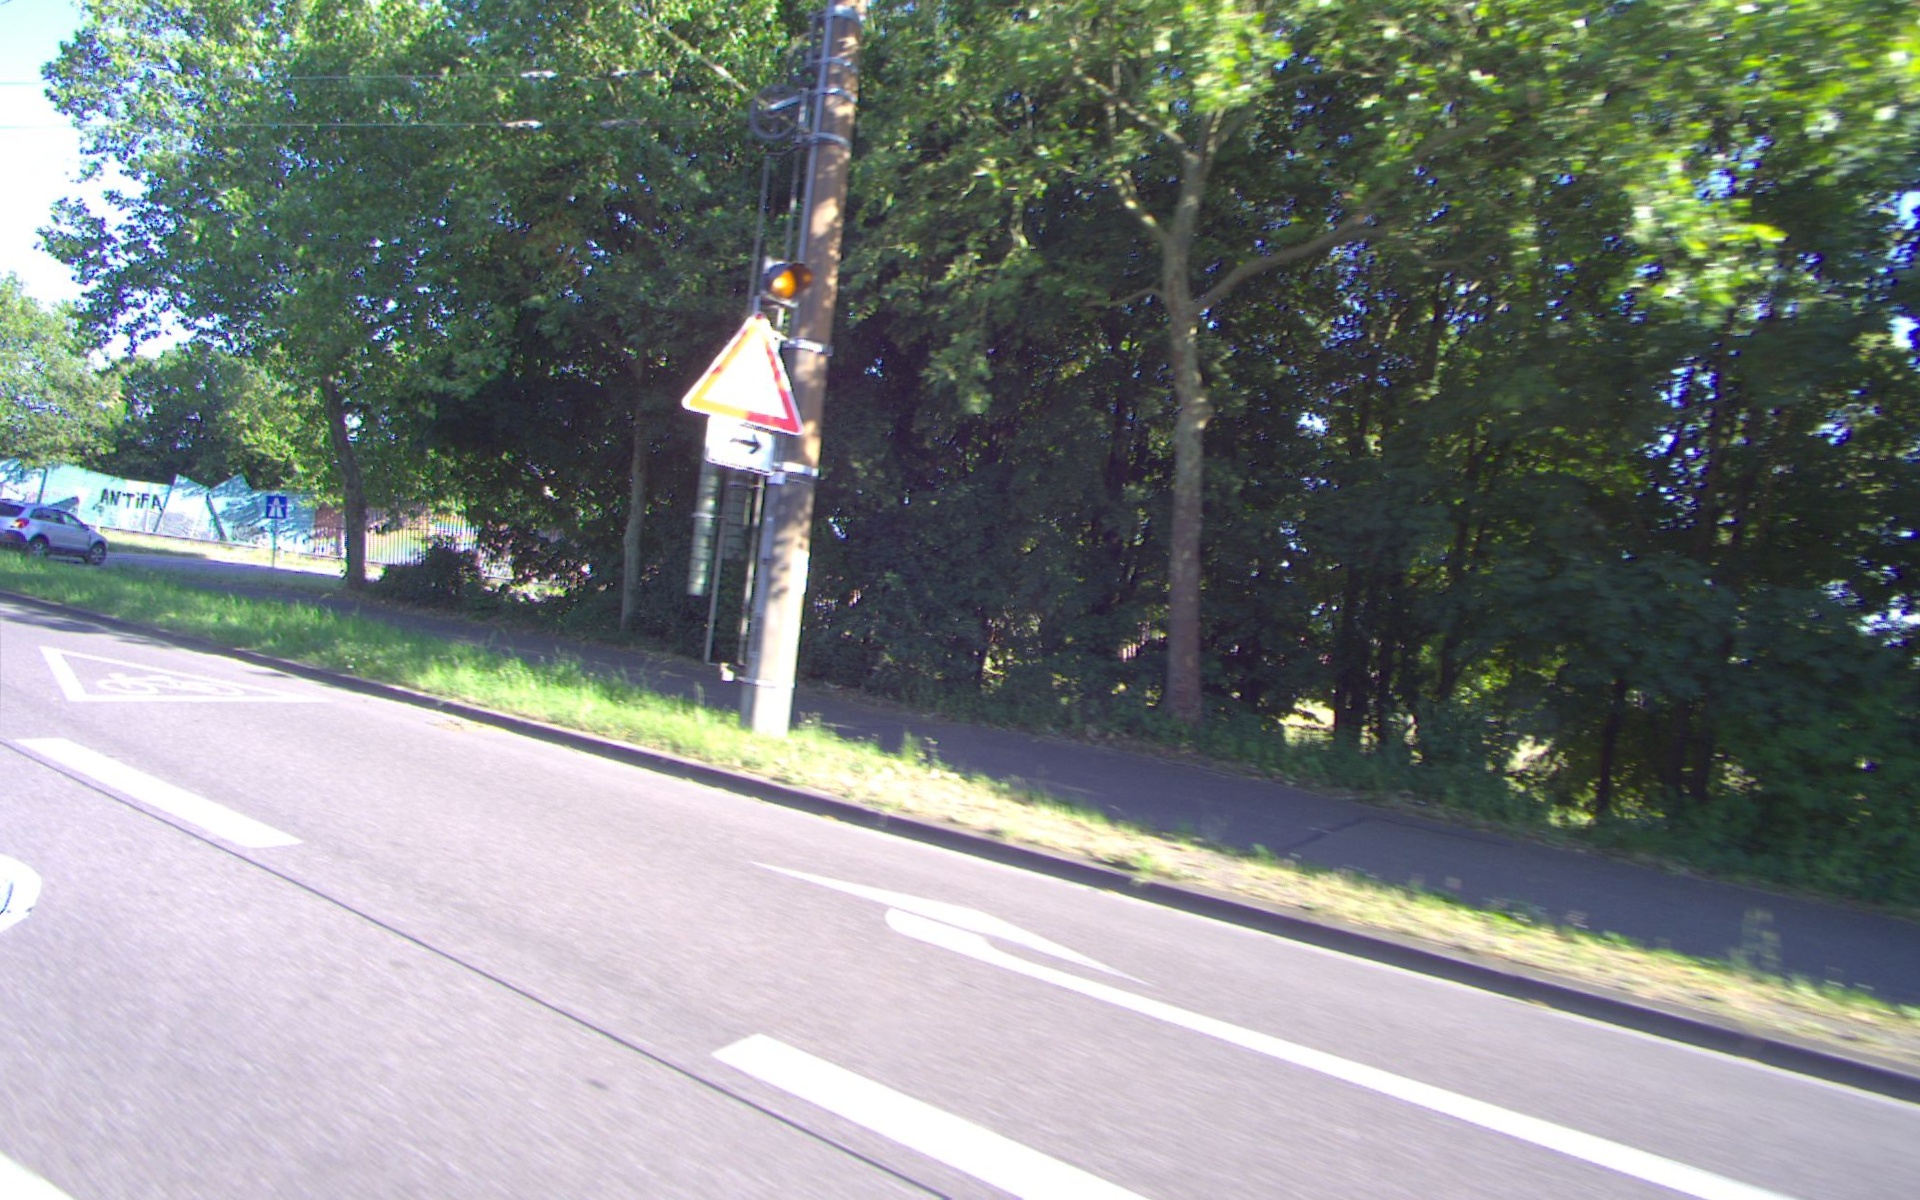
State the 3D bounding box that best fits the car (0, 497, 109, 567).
[{"bbox_3d":[-28.849,-2.129,31.293,1.785,1.793,3.857,7,-2,-10],"label":"car"}]
